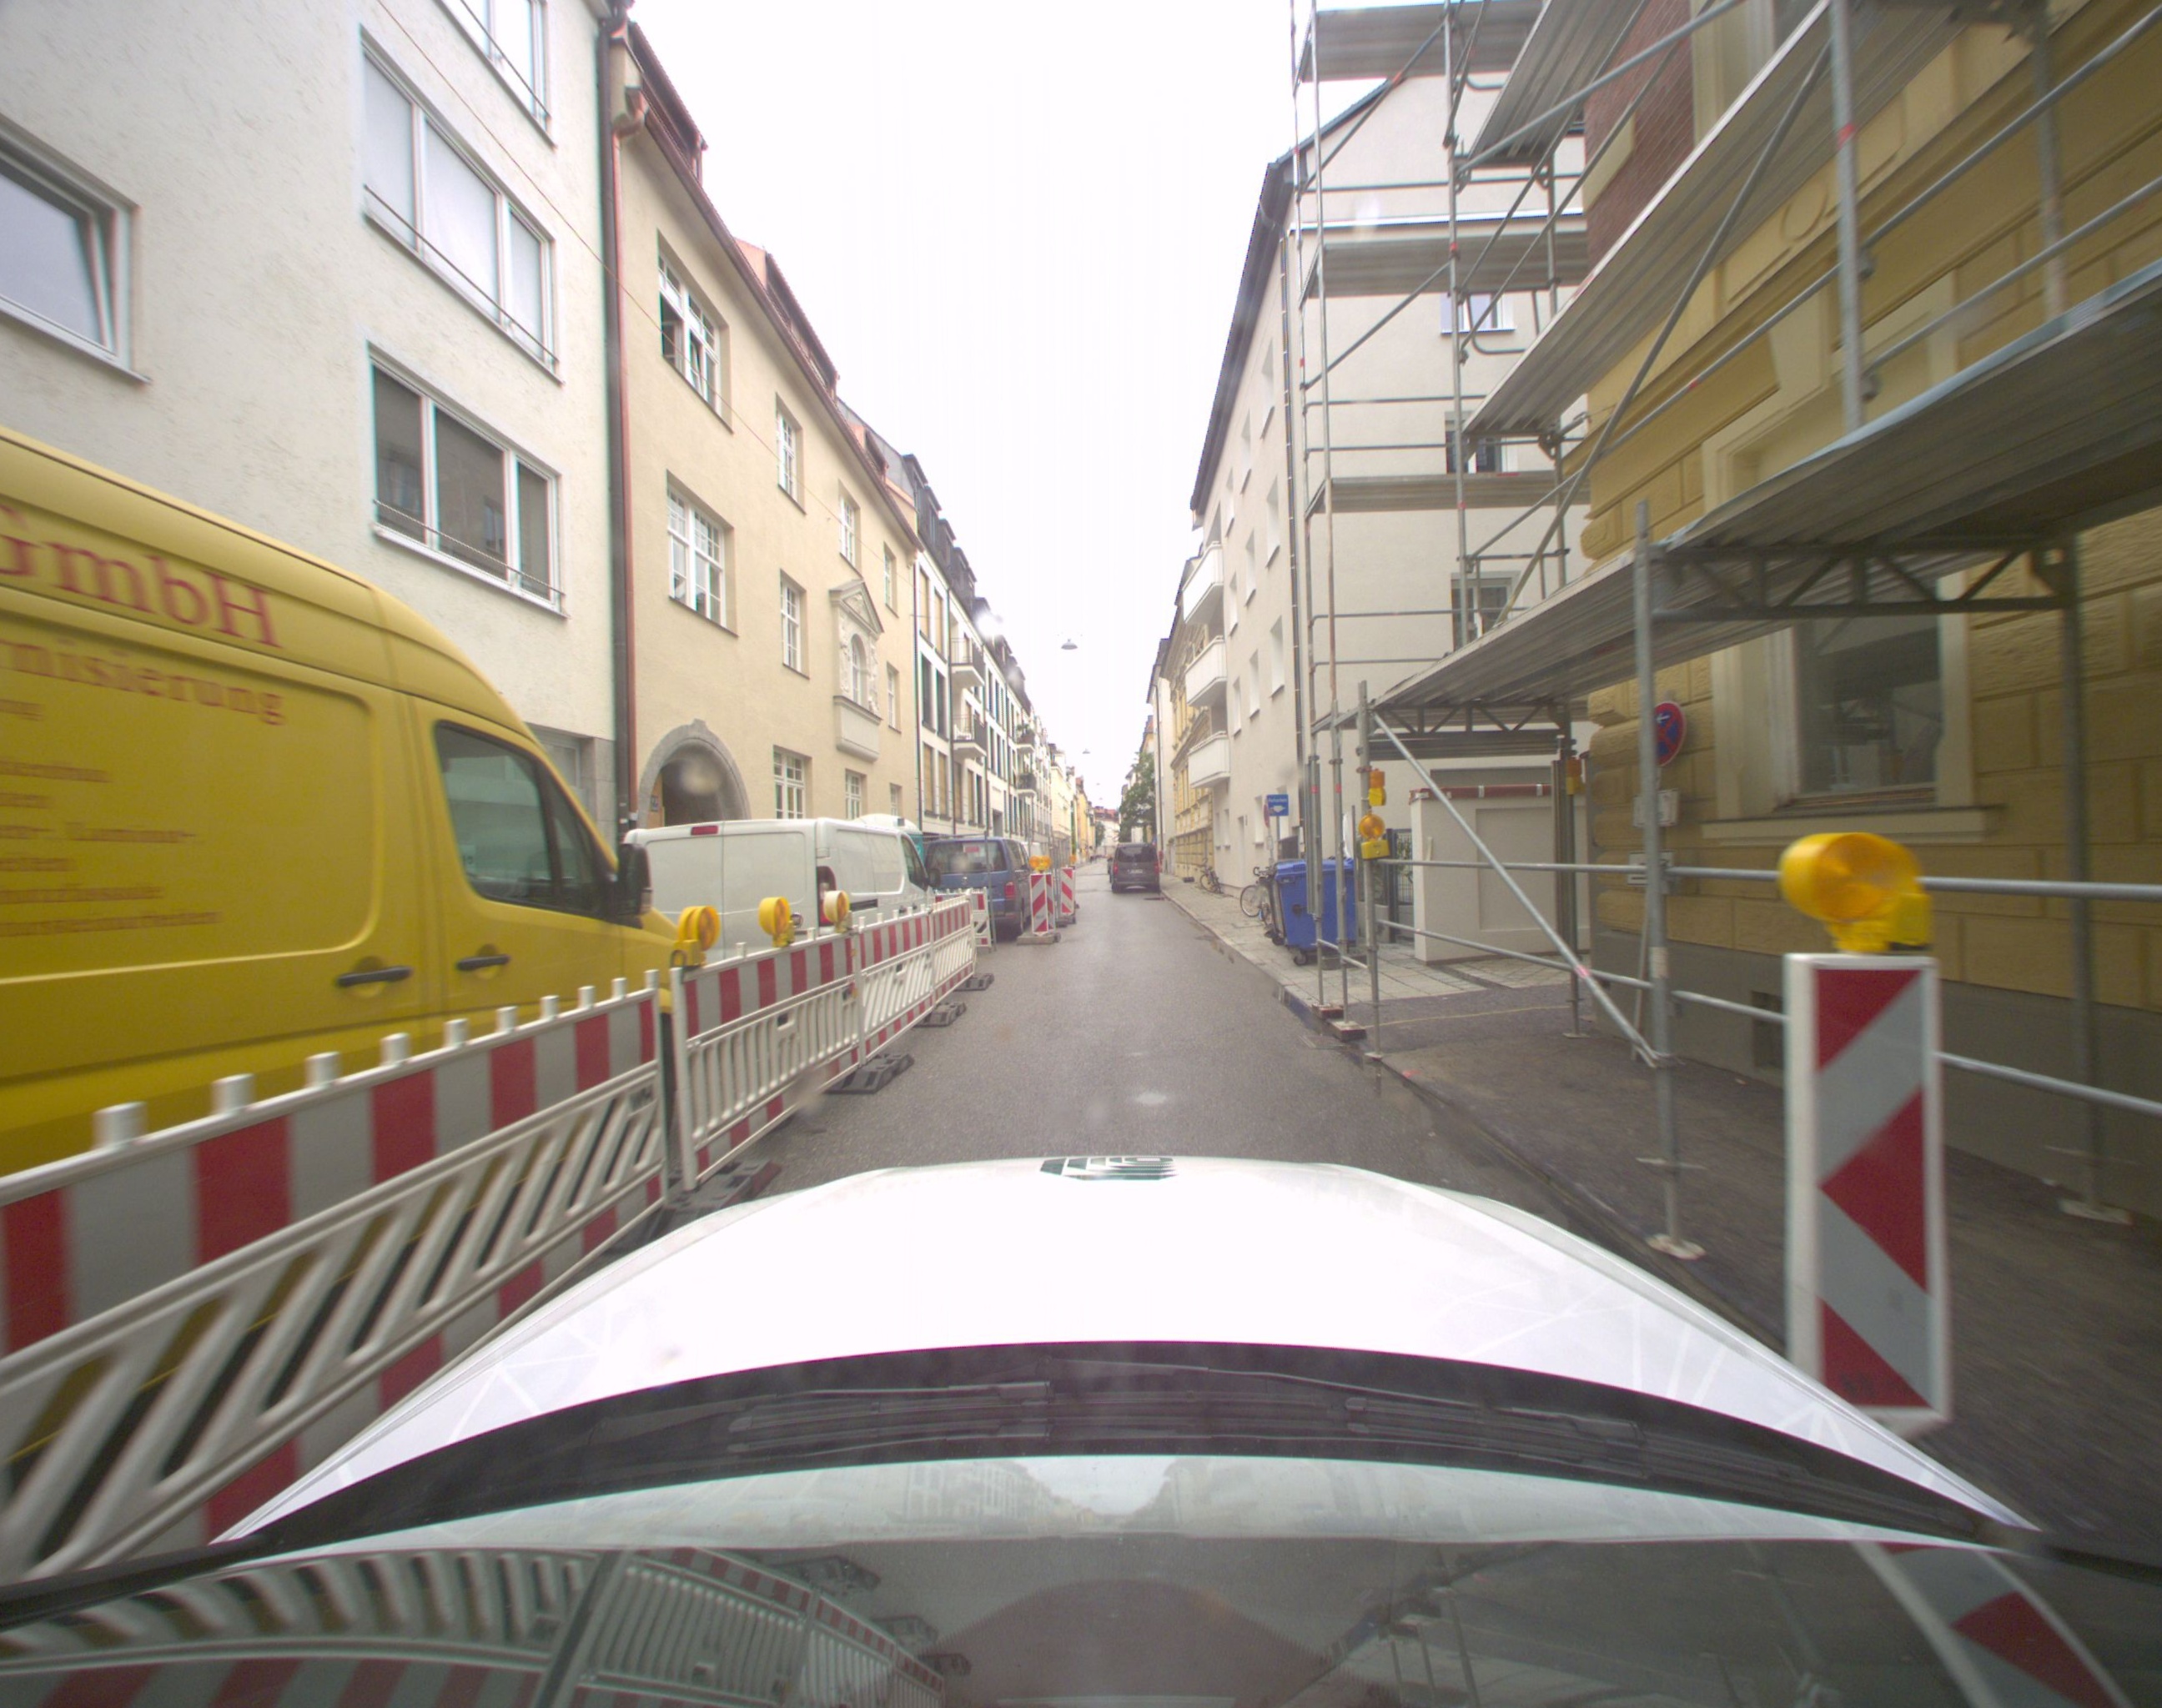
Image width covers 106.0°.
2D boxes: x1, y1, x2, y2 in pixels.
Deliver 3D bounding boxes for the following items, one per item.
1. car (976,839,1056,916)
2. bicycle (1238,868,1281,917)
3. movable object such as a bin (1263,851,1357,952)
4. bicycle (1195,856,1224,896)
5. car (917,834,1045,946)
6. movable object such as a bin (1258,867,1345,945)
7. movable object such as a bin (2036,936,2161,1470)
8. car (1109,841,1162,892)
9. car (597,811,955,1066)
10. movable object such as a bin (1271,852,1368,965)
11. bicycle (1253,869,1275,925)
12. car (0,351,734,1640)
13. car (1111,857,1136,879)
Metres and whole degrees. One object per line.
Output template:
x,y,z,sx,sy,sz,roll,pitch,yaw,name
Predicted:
-1.735,0.617,23.306,1.899,1.897,5.086,-2,0,-1,car
3.831,0.805,17.521,0.403,0.991,1.326,-5,0,-7,bicycle
3.406,0.682,12.252,1.119,1.345,1.174,-6,0,10,movable object such as a bin
4.158,0.691,26.521,0.635,1.153,1.916,-5,0,3,bicycle
-1.909,0.652,17.269,1.720,1.897,5.511,-4,0,2,car
3.551,0.832,13.233,1.204,1.095,0.791,-6,0,10,movable object such as a bin
2.680,0.753,1.435,0.727,1.141,0.988,-6,0,1,movable object such as a bin
2.159,0.482,33.446,1.986,1.932,4.661,-1,0,1,car
-2.793,0.681,8.851,1.910,1.897,4.791,-4,0,1,car
3.201,0.702,11.018,1.078,1.346,1.322,-5,0,14,movable object such as a bin
3.645,0.825,16.184,0.278,0.991,1.439,-5,0,15,bicycle
-3.170,0.295,1.421,1.986,2.578,6.739,-3,0,1,car
3.185,1.029,60.980,1.744,1.636,3.447,-1,0,3,car
